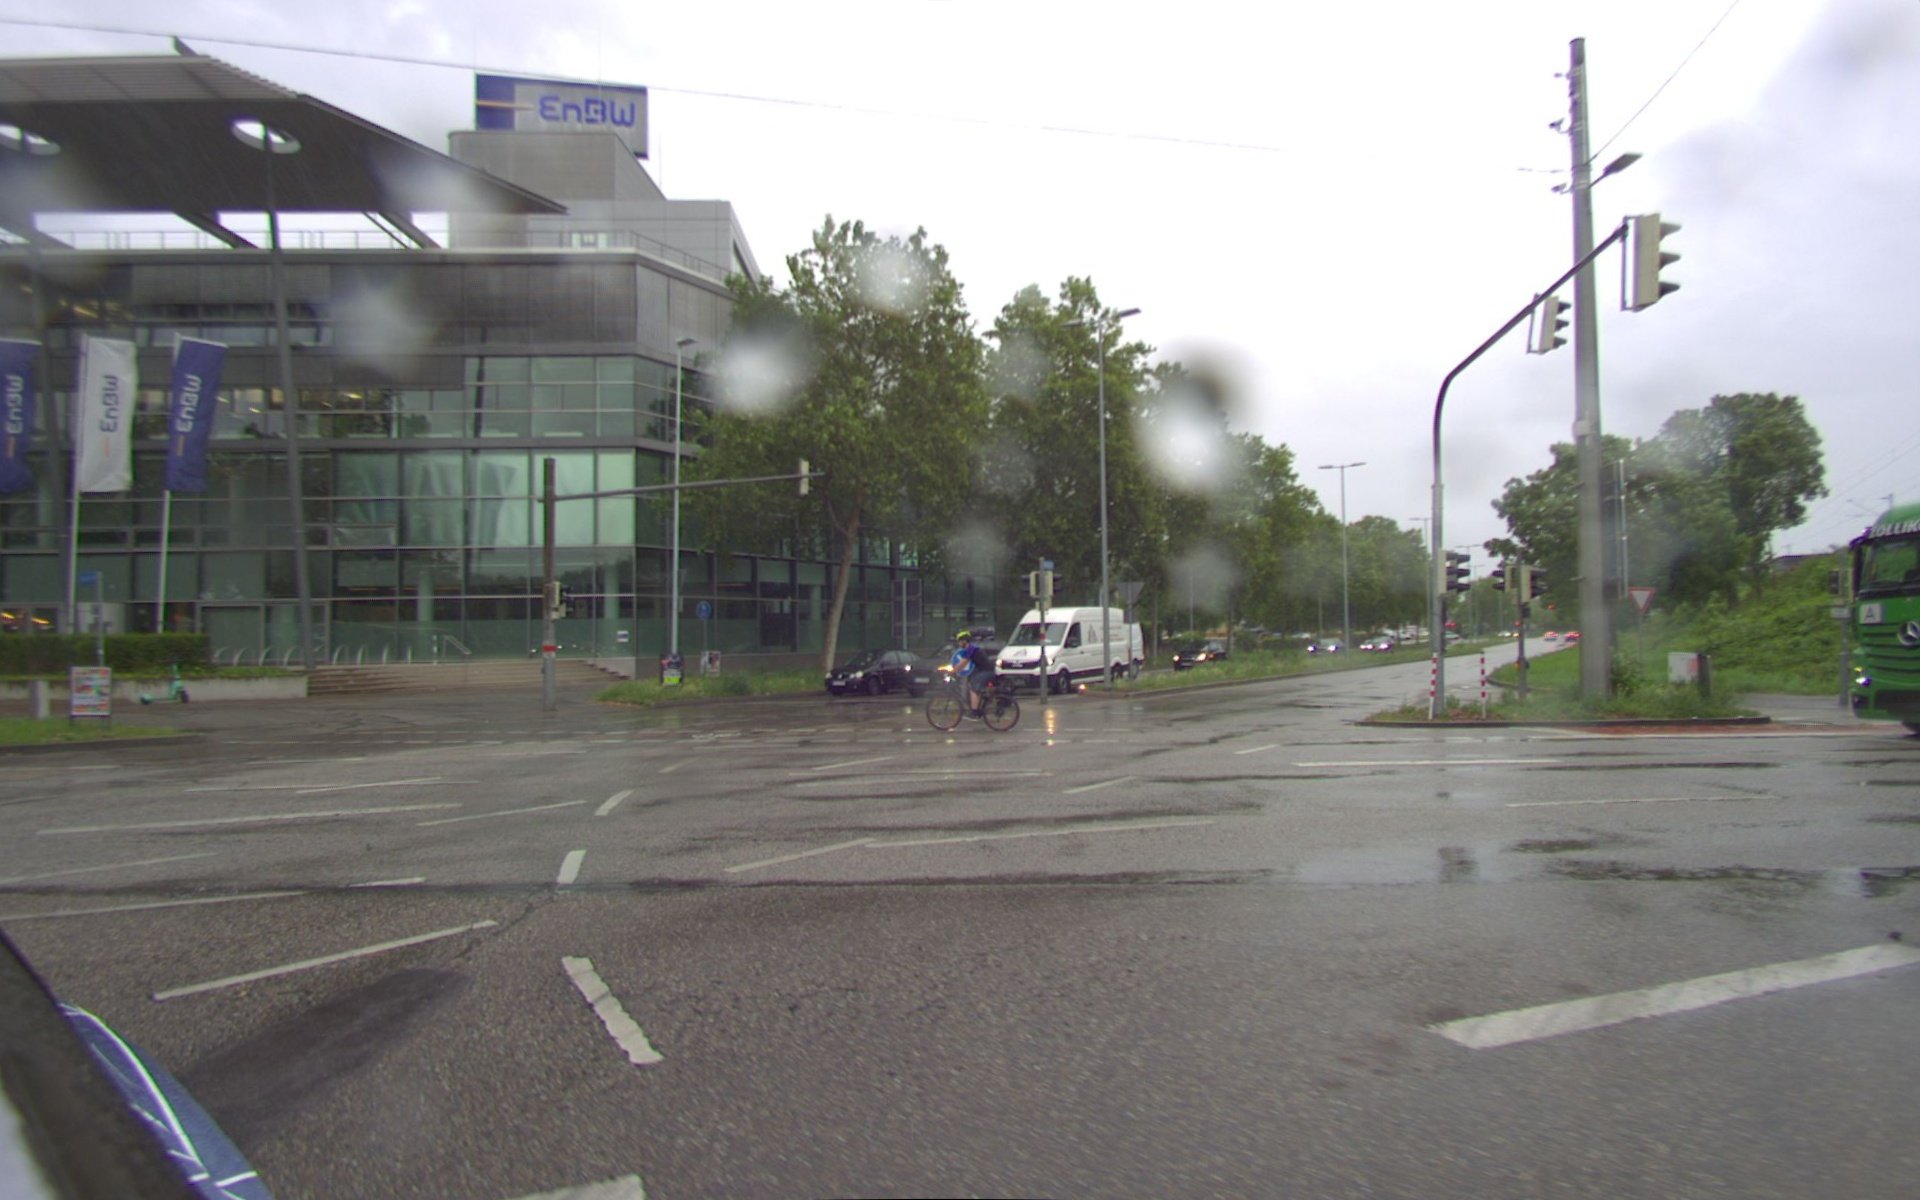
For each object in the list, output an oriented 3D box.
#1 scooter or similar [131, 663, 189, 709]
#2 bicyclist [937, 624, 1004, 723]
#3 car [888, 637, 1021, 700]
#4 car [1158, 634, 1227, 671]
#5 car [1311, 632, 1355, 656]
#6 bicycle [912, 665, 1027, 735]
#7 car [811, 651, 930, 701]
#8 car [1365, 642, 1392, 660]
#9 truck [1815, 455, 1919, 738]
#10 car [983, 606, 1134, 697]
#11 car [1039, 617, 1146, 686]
[{"bbox_3d":[-20.681,2.219,26.160,1.157,1.147,0.341,0,-2,-6],"label":"scooter or similar"},{"bbox_3d":[0.194,1.248,17.352,1.034,1.605,0.803,-3,-3,5],"label":"bicyclist"},{"bbox_3d":[-0.080,2.006,30.445,1.994,1.761,4.279,-2,-3,33],"label":"car"},{"bbox_3d":[11.188,2.505,48.597,1.865,1.697,3.952,-2,-3,35],"label":"car"},{"bbox_3d":[25.871,3.039,70.143,1.905,1.597,3.878,-2,-3,35],"label":"car"},{"bbox_3d":[0.181,1.700,17.341,1.889,1.103,0.693,-2,-3,6],"label":"bicycle"},{"bbox_3d":[-2.784,2.393,32.295,1.797,1.448,3.957,-3,-3,31],"label":"car"},{"bbox_3d":[36.321,4.400,87.768,1.576,1.534,3.883,-2,-3,31],"label":"car"},{"bbox_3d":[18.507,-0.094,14.576,10.046,3.979,2.689,-1,-2,-2],"label":"truck"},{"bbox_3d":[3.124,1.513,30.587,1.965,2.452,5.892,-2,-3,34],"label":"car"},{"bbox_3d":[5.208,1.951,39.046,1.965,2.452,5.201,-2,-3,34],"label":"car"}]
